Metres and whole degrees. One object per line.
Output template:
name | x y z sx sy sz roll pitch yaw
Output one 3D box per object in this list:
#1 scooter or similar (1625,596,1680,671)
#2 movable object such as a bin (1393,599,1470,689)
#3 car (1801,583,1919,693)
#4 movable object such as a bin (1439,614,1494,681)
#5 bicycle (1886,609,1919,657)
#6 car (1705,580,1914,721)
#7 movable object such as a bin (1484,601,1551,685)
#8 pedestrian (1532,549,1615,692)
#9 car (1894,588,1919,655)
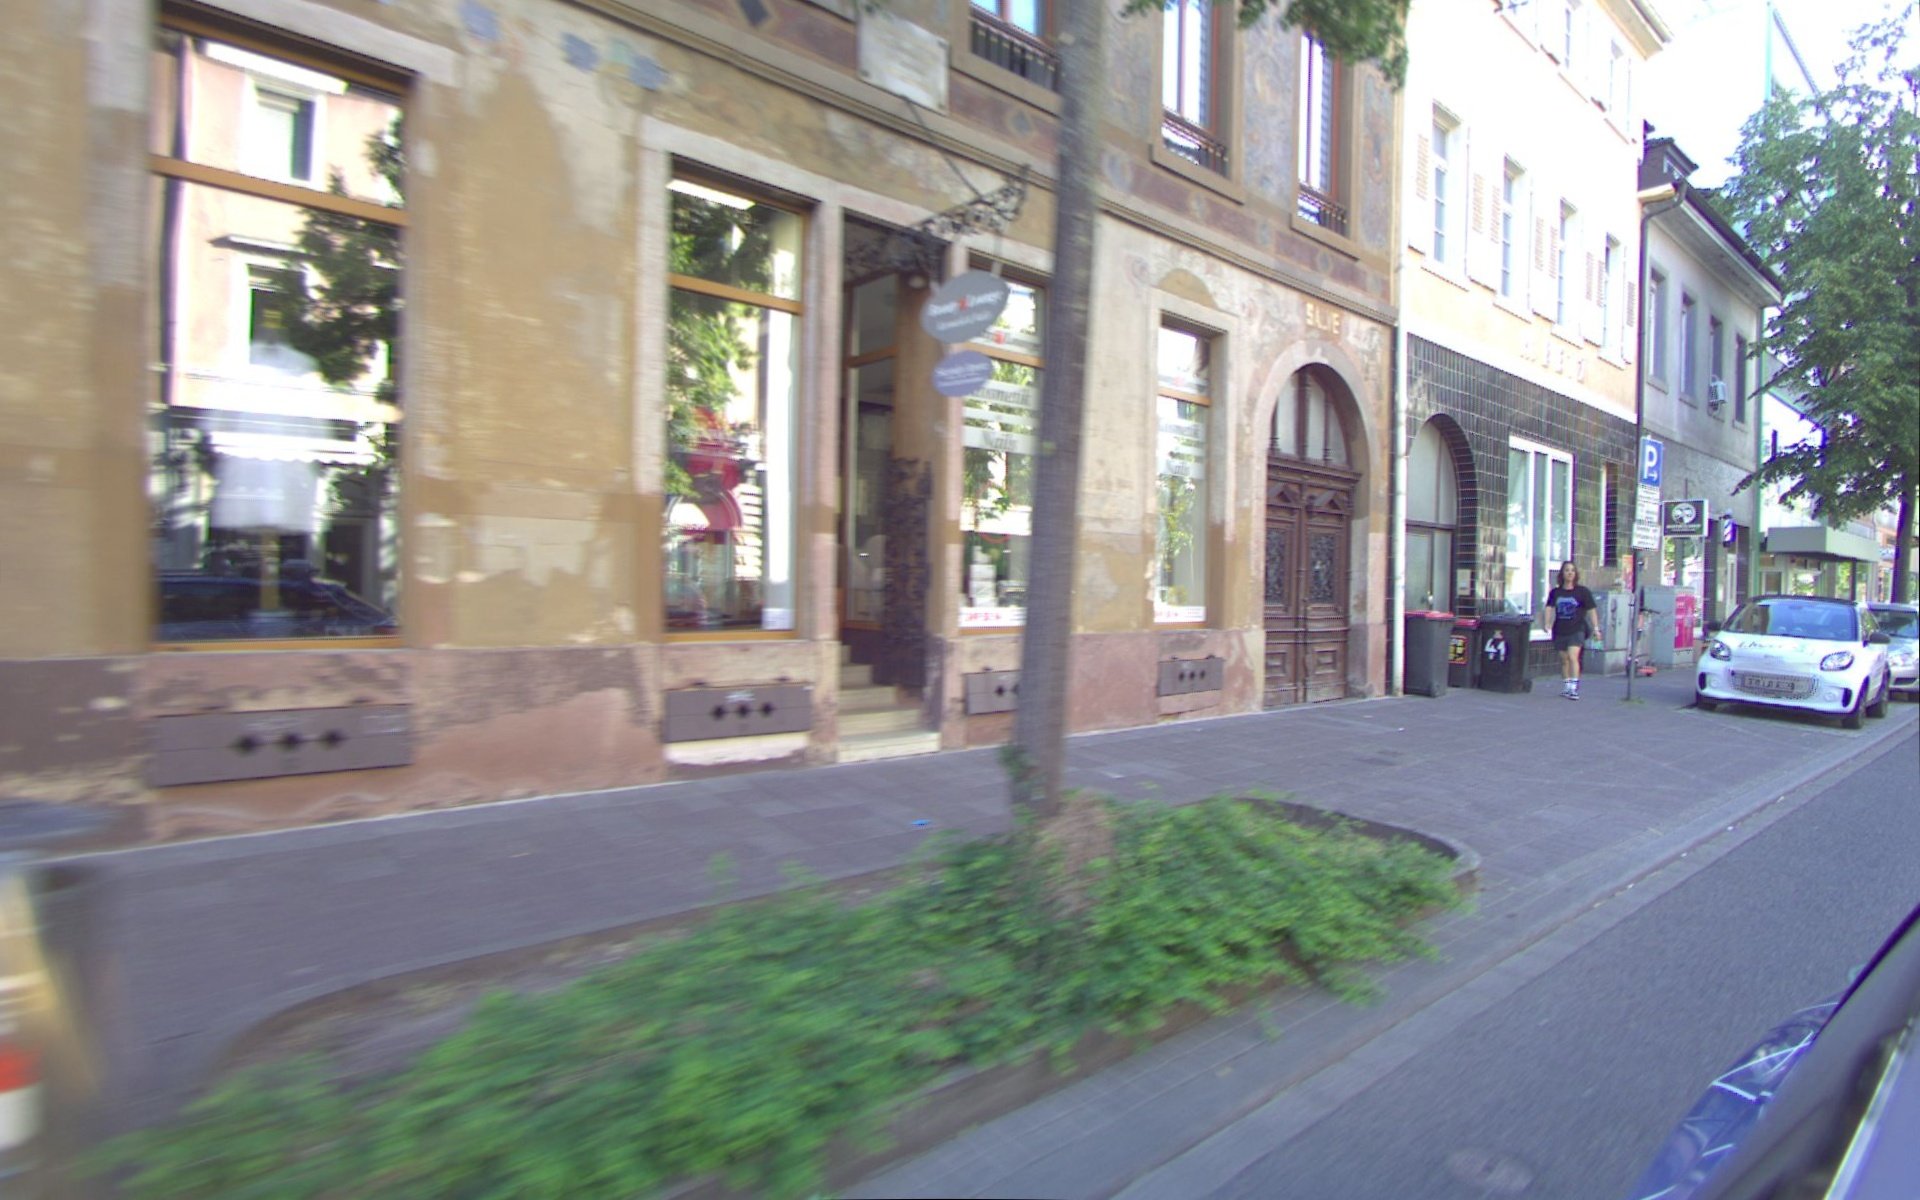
scooter or similar | 11.584 0.547 16.923 1.147 1.201 0.400 0 3 -40
movable object such as a bin | 5.931 0.534 12.732 0.709 1.052 0.590 0 3 -40
car | 15.470 0.570 16.817 4.161 1.547 1.617 0 4 -42
movable object such as a bin | 6.924 0.642 13.835 0.470 0.871 0.512 0 1 -39
bicycle | 22.143 0.798 22.890 0.601 1.024 1.626 1 5 -42
car | 11.126 0.561 13.216 3.008 1.547 1.617 0 3 -42
movable object such as a bin | 7.467 0.560 13.554 0.709 1.052 0.523 0 3 -40
pedestrian | 7.999 0.245 13.206 0.757 1.786 0.624 0 3 -40
car | 24.464 0.552 24.760 4.160 1.545 1.887 0 3 -42
